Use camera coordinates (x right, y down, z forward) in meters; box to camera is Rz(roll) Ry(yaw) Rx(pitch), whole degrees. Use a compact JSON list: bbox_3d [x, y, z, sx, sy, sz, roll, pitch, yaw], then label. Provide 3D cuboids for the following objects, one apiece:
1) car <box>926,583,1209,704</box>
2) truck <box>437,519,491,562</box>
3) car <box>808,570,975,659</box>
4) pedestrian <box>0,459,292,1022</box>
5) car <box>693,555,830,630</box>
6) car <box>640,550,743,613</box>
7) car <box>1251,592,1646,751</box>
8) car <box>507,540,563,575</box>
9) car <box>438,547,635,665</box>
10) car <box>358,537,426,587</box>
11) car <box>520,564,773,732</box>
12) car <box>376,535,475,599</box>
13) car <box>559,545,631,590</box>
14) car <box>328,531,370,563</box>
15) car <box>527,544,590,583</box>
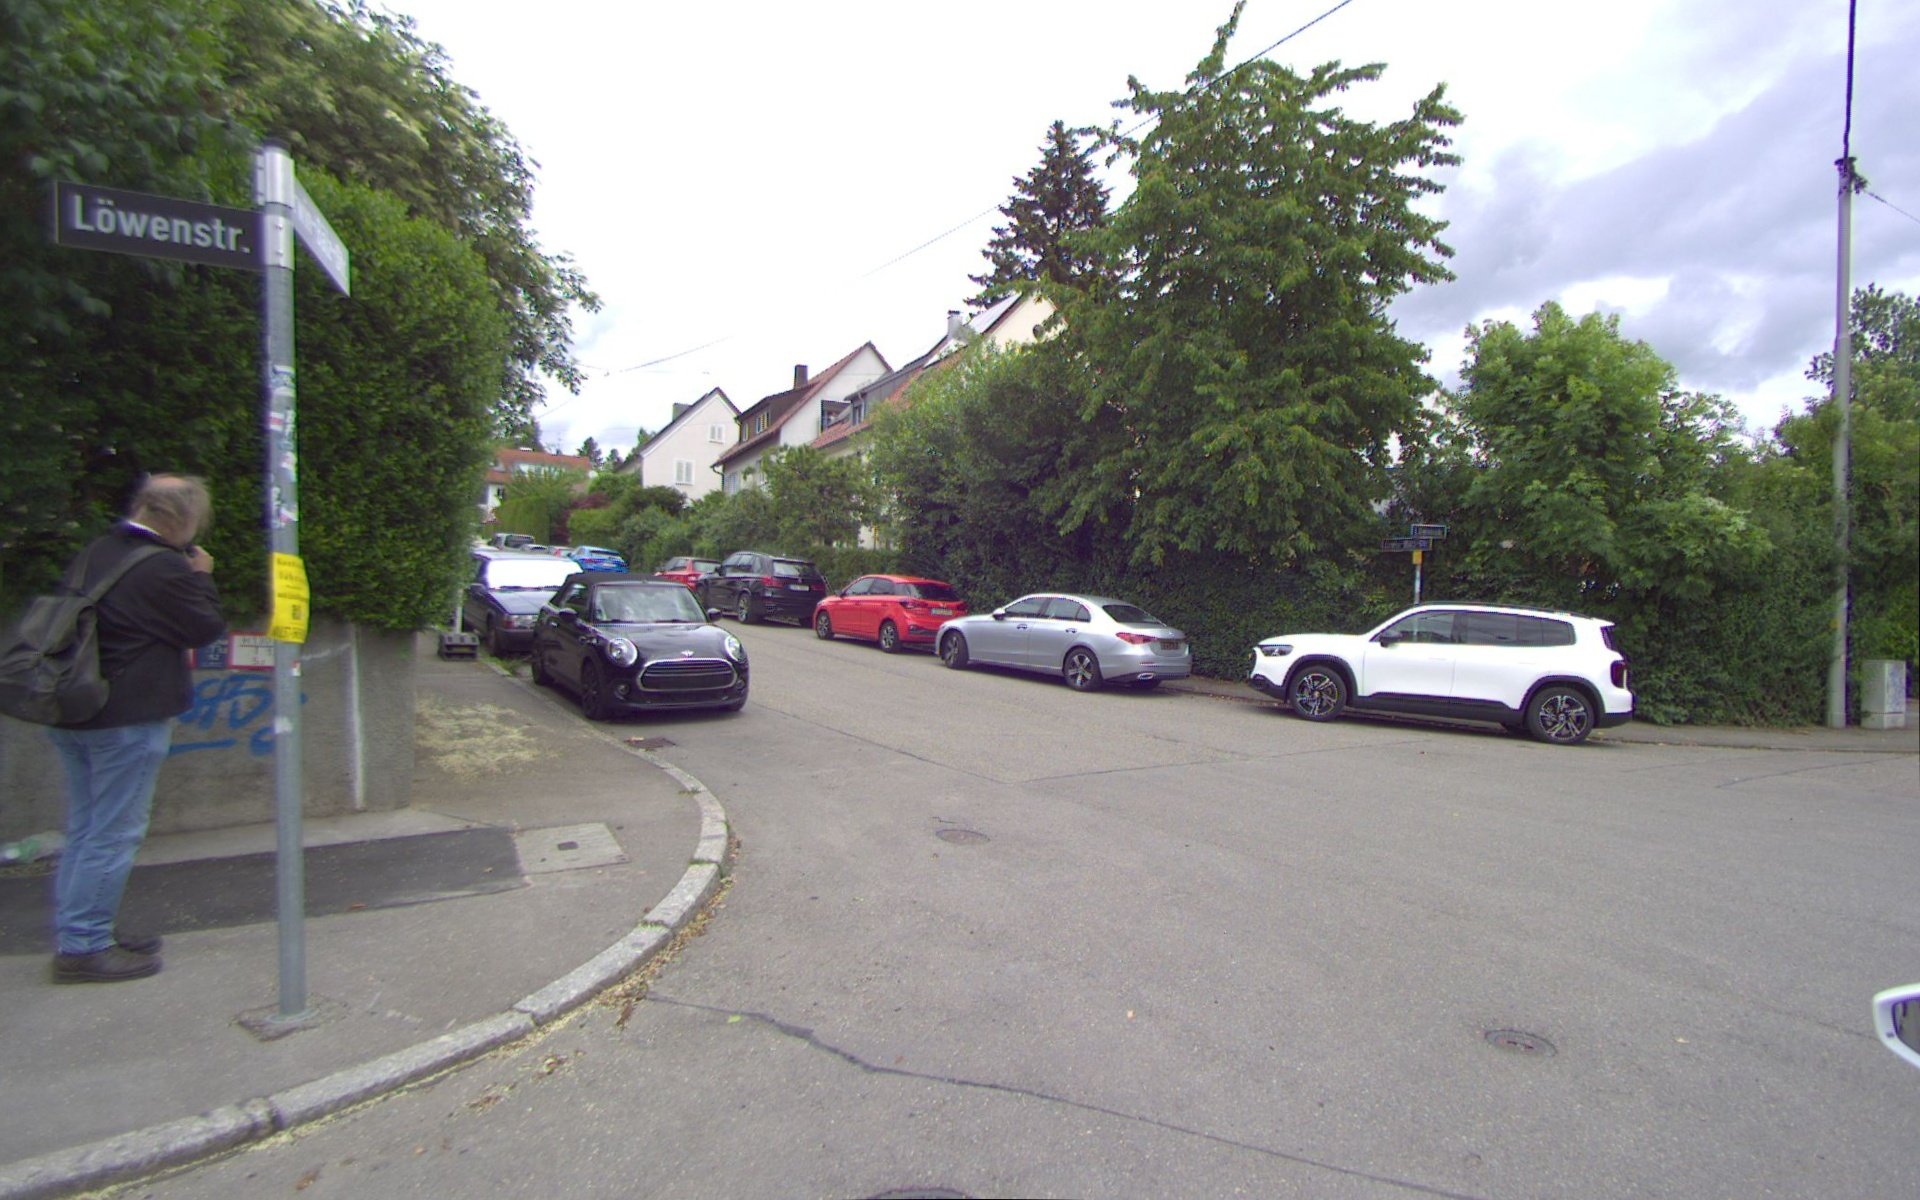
[{"bbox_3d":[1.624,0.607,16.489,1.822,1.456,4.456,2,3,-43],"label":"car"},{"bbox_3d":[-31.035,-3.756,62.771,2.405,2.389,4.856,3,2,-34],"label":"truck"},{"bbox_3d":[-1.492,0.248,20.577,1.617,1.456,3.749,2,3,-36],"label":"car"},{"bbox_3d":[-3.017,0.444,3.662,0.635,1.783,0.818,3,1,42],"label":"pedestrian"},{"bbox_3d":[-5.076,-0.230,25.298,1.747,1.571,4.207,2,3,-36],"label":"car"},{"bbox_3d":[-8.072,-0.582,29.966,1.617,1.571,3.985,2,3,-35],"label":"car"},{"bbox_3d":[6.252,0.846,13.457,4.424,1.677,1.835,3,1,16],"label":"car"},{"bbox_3d":[-20.330,-2.054,47.946,1.617,1.486,3.985,2,2,-36],"label":"car"},{"bbox_3d":[-6.968,0.008,16.214,1.870,1.503,4.685,2,3,-36],"label":"car"},{"bbox_3d":[-18.118,-1.244,31.984,1.525,1.407,3.515,2,2,-35],"label":"car"},{"bbox_3d":[-3.790,0.428,11.717,1.770,1.543,3.682,1,2,-35],"label":"car"},{"bbox_3d":[-14.106,-0.907,26.413,1.775,1.437,4.247,2,3,-35],"label":"car"},{"bbox_3d":[-14.320,-1.296,39.279,1.617,1.486,3.985,2,2,-36],"label":"car"},{"bbox_3d":[-30.046,-2.603,49.386,1.525,1.407,3.344,2,2,-35],"label":"car"},{"bbox_3d":[-17.632,-1.619,44.020,1.617,1.486,3.985,2,2,-36],"label":"car"}]
